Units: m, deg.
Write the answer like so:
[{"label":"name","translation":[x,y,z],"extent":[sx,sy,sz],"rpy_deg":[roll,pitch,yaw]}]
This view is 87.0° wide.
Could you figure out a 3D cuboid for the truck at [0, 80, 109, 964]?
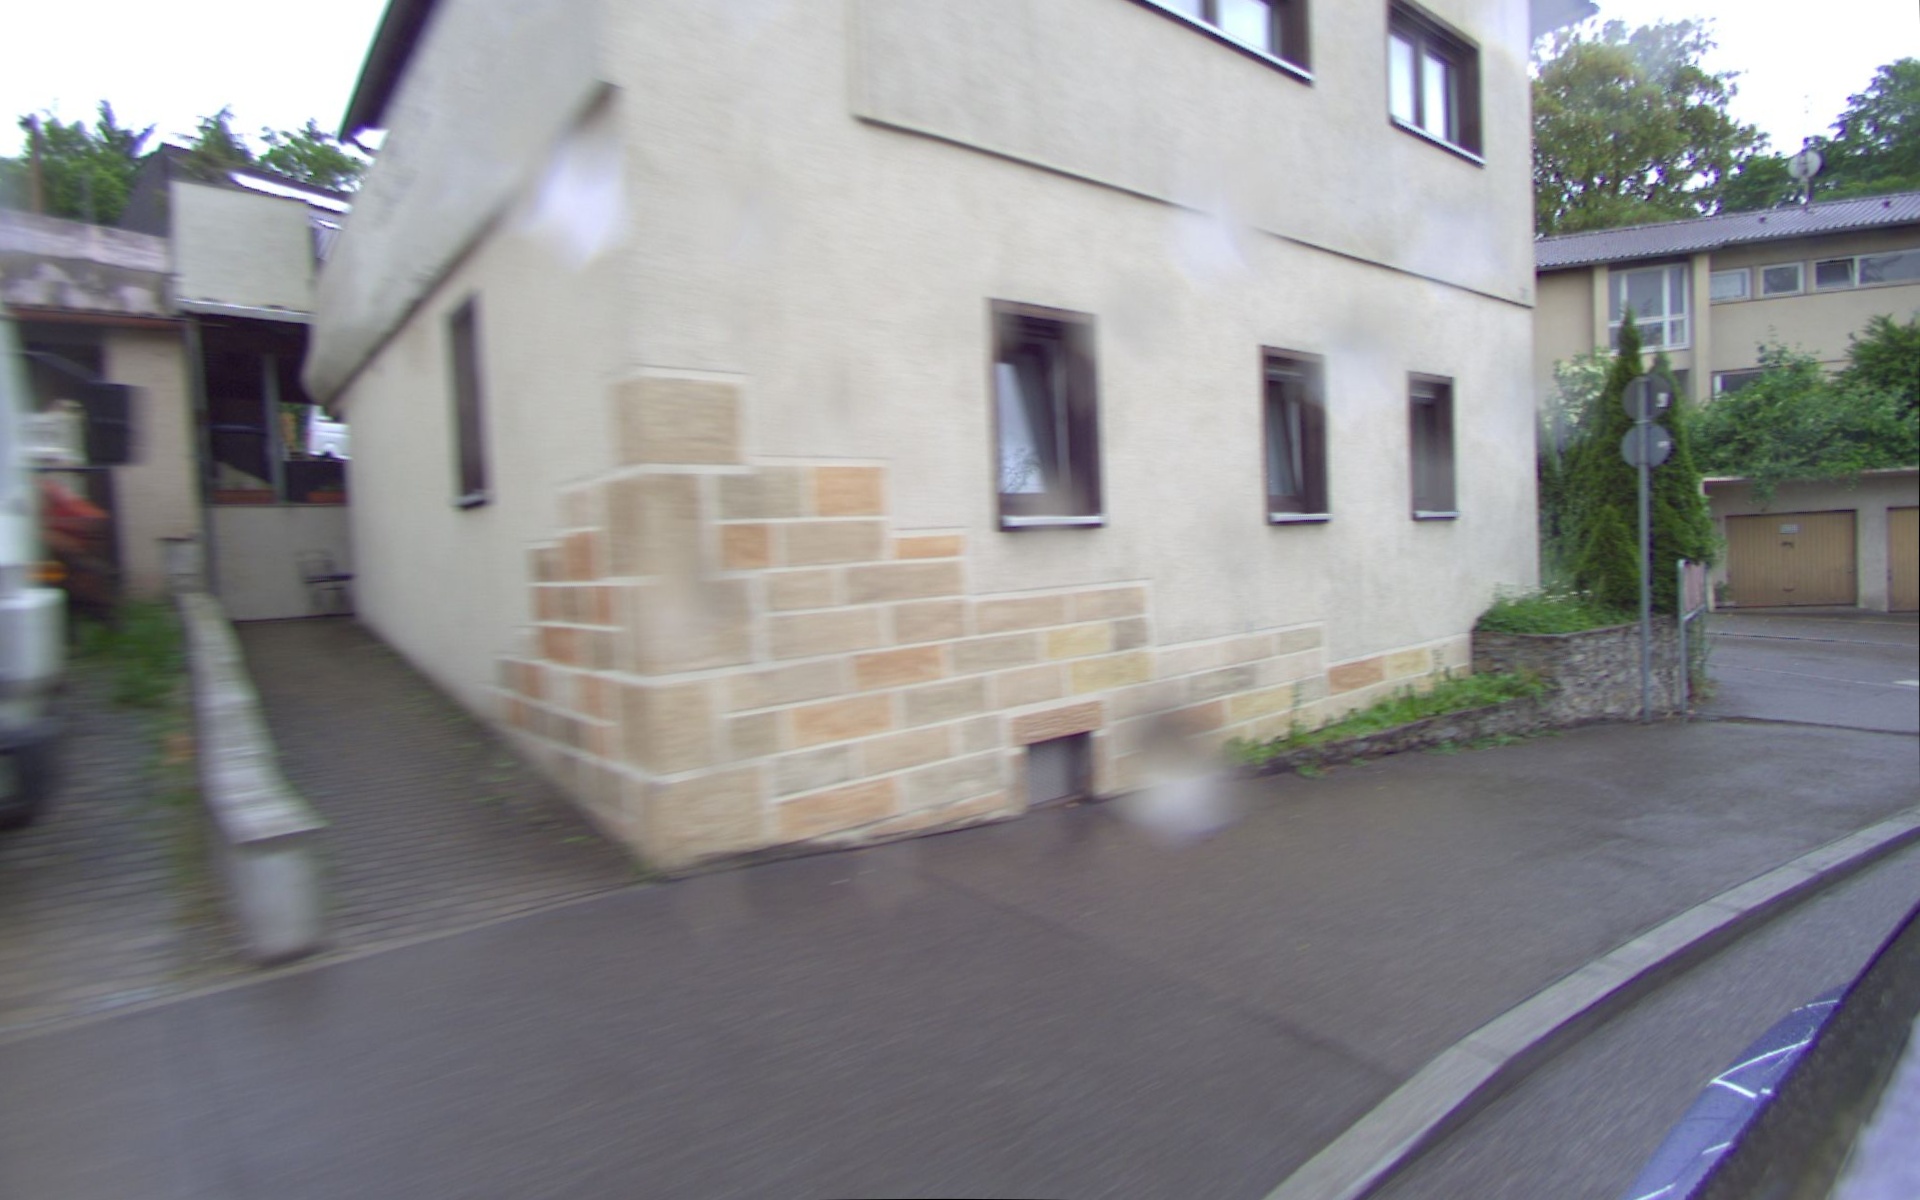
[{"label":"truck","translation":[-5.914,-0.540,5.121],"extent":[2.104,2.735,6.970],"rpy_deg":[1,4,-43]}]
